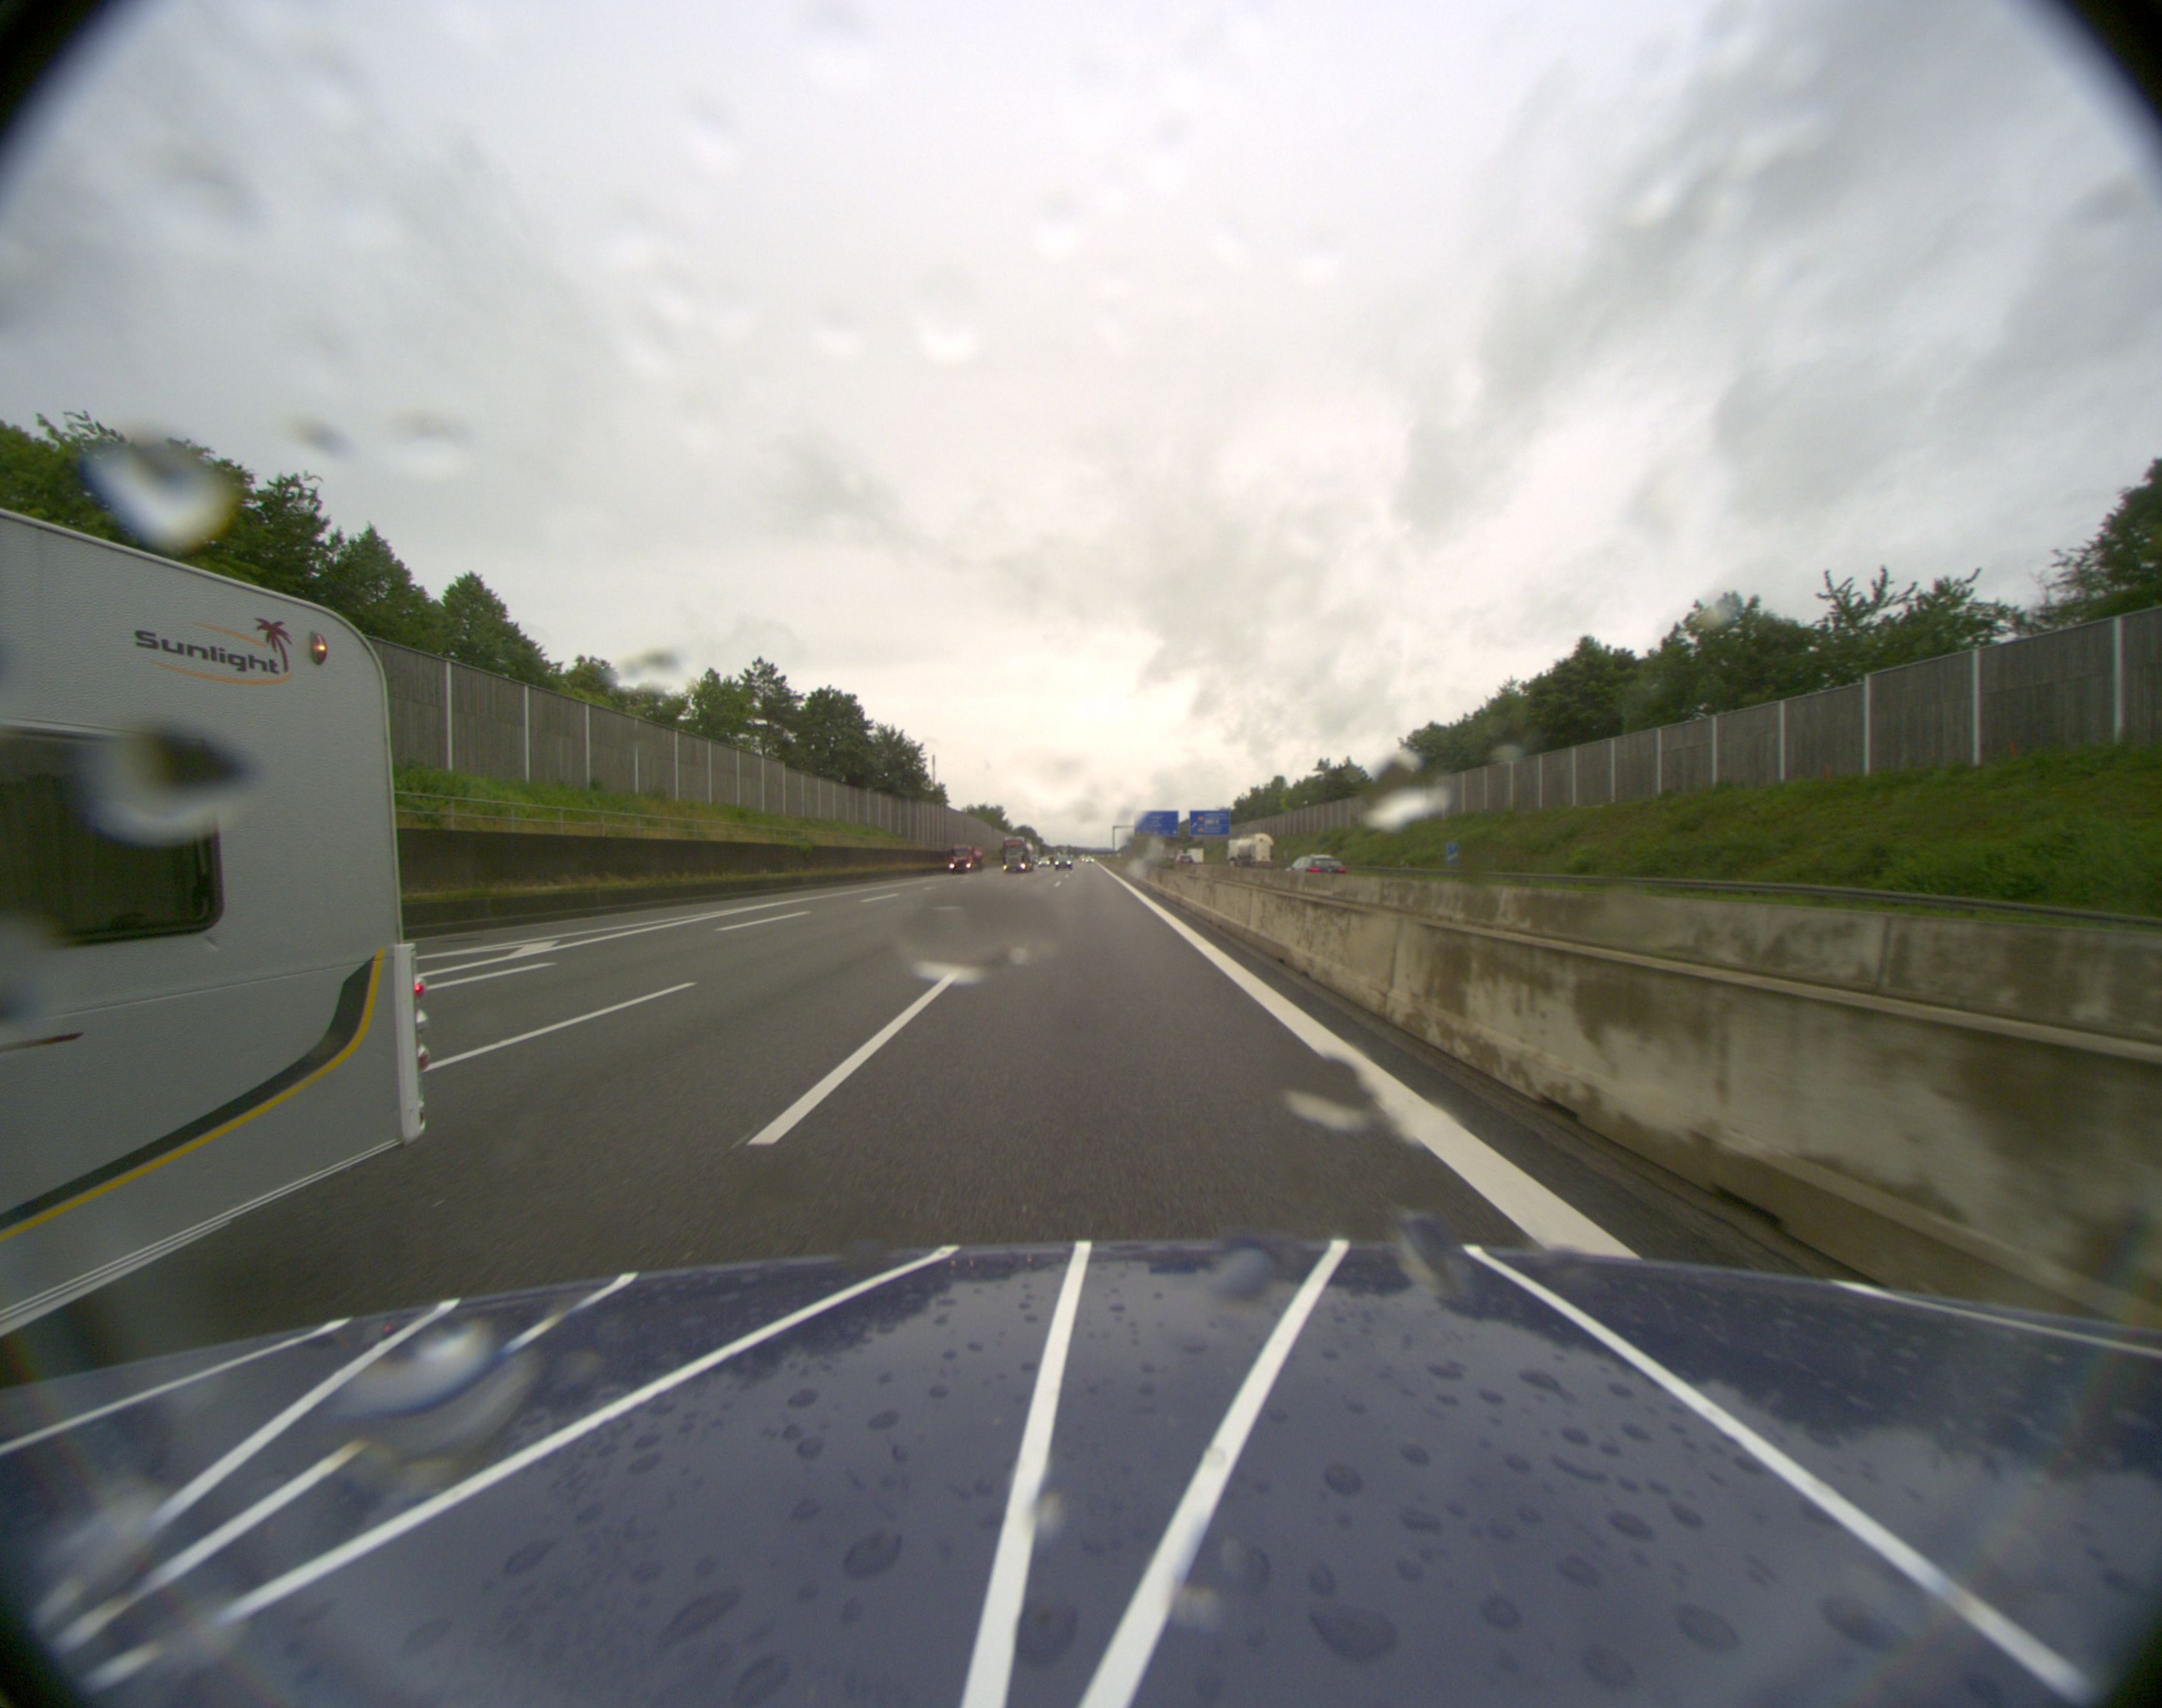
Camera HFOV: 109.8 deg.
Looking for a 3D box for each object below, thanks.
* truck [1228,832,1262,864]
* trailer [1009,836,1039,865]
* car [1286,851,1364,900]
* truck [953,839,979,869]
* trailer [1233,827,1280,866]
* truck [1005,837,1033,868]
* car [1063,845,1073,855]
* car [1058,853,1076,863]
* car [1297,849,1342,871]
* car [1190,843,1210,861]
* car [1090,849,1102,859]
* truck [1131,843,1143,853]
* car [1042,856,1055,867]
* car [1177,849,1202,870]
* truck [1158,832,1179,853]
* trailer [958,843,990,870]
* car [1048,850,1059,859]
[{"bbox_3d":[19.122,-0.734,88.788,2.707,3.537,5.857,2,1,1],"label":"truck"},{"bbox_3d":[-6.719,-0.389,90.928,2.600,3.229,9.915,-1,0,1],"label":"trailer"},{"bbox_3d":[10.837,0.877,34.128,1.998,2.002,4.768,-1,0,1],"label":"car"},{"bbox_3d":[-13.705,0.034,90.906,2.420,3.445,4.000,-1,1,1],"label":"truck"},{"bbox_3d":[19.060,-0.838,83.295,2.718,3.901,10.643,2,1,1],"label":"trailer"},{"bbox_3d":[-6.824,-0.171,83.973,2.617,3.218,4.632,-1,1,1],"label":"truck"},{"bbox_3d":[-3.736,-1.134,217.888,2.769,2.591,5.807,-1,0,-1],"label":"car"},{"bbox_3d":[-1.707,0.491,93.424,2.061,1.020,3.438,-3,1,1],"label":"car"},{"bbox_3d":[18.576,0.457,59.506,1.998,1.633,4.960,-1,0,1],"label":"car"},{"bbox_3d":[20.268,-0.396,130.124,2.369,2.953,6.688,-1,0,1],"label":"car"},{"bbox_3d":[3.466,0.014,178.211,2.680,2.341,5.807,-1,0,-1],"label":"car"},{"bbox_3d":[17.010,-1.791,231.321,2.982,2.756,7.262,-1,0,0],"label":"truck"},{"bbox_3d":[-5.447,1.253,128.009,1.916,1.630,3.999,-3,1,1],"label":"car"},{"bbox_3d":[11.347,0.547,79.636,1.998,2.002,4.768,-1,0,1],"label":"car"},{"bbox_3d":[19.641,-2.528,170.503,3.326,4.216,11.145,-3,0,0],"label":"truck"},{"bbox_3d":[-13.517,0.314,96.802,2.452,3.229,9.401,-1,0,1],"label":"trailer"},{"bbox_3d":[-5.636,0.162,154.664,1.998,1.747,4.000,-2,1,1],"label":"car"}]
